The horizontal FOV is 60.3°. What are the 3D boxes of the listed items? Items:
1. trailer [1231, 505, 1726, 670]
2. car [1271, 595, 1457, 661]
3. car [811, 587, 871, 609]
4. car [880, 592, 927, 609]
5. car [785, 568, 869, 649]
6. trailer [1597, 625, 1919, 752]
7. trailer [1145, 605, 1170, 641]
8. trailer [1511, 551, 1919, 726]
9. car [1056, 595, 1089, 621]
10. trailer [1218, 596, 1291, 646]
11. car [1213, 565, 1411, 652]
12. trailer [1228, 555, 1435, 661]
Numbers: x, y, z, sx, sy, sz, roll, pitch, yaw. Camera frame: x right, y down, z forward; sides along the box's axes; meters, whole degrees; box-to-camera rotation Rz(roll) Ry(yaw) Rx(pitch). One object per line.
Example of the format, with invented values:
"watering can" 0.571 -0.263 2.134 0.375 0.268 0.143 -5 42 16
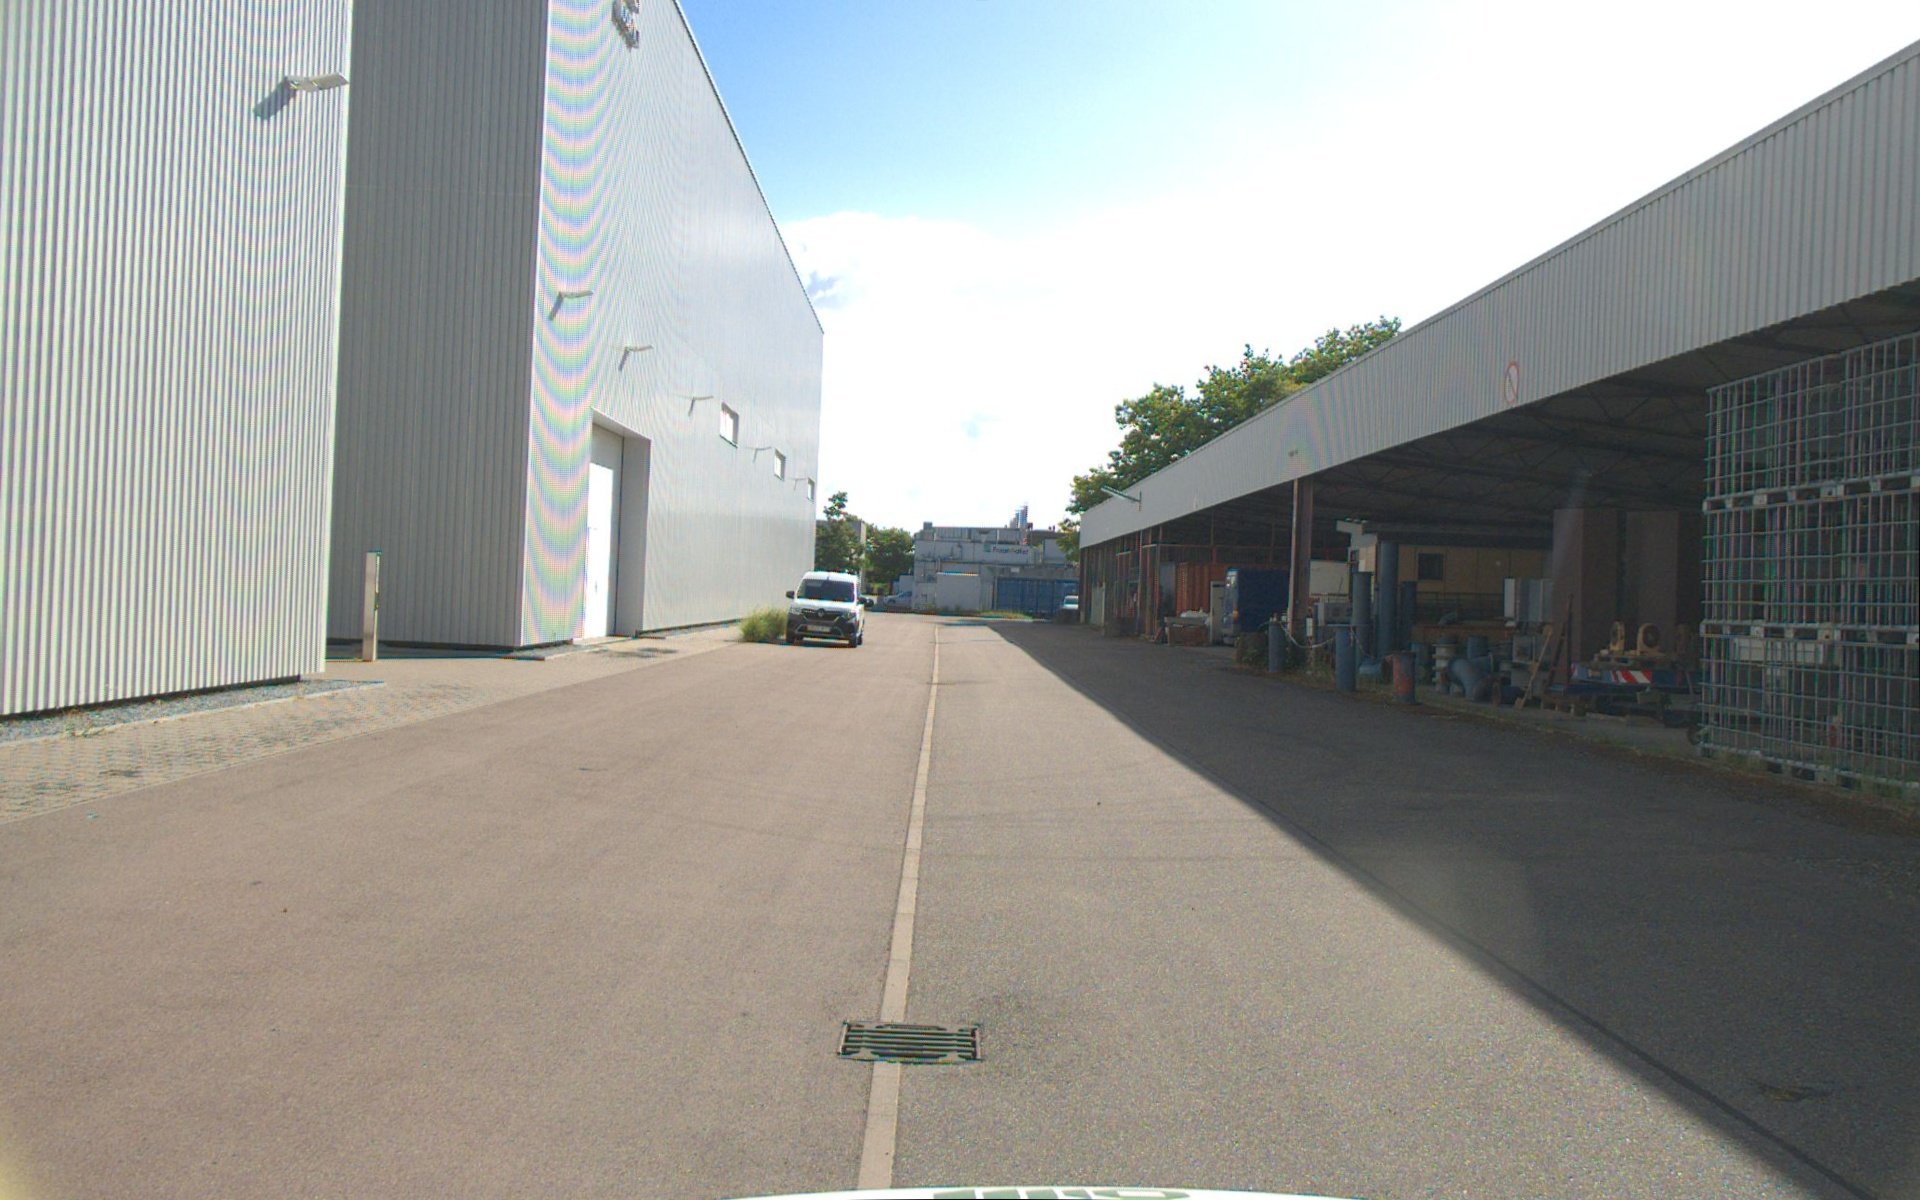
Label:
"trailer" 11.272 -0.265 36.580 10.058 3.401 2.801 1 0 -1
"car" 10.110 0.688 41.611 4.164 1.497 1.868 2 0 -4
"car" -8.900 -0.117 124.251 4.357 1.558 1.823 1 0 -2
"car" -5.169 0.065 152.214 4.215 1.483 1.823 1 0 -2
"car" -3.355 0.212 42.399 1.747 1.847 4.600 3 0 -1
"trailer" 9.864 0.907 17.382 5.613 1.206 1.973 1 0 -2
"trailer" 6.387 0.745 53.504 0.541 1.138 1.546 1 0 -3
"trailer" 9.422 0.459 20.713 4.332 2.025 2.163 1 0 1
"car" 7.608 0.502 112.097 1.939 1.630 4.378 1 1 1
"trailer" 8.971 0.624 50.442 1.995 1.492 1.739 1 0 3
"car" 10.118 0.256 47.851 5.224 2.321 2.152 2 -1 -2
"trailer" 8.708 0.197 39.030 4.423 2.383 2.047 1 0 0
